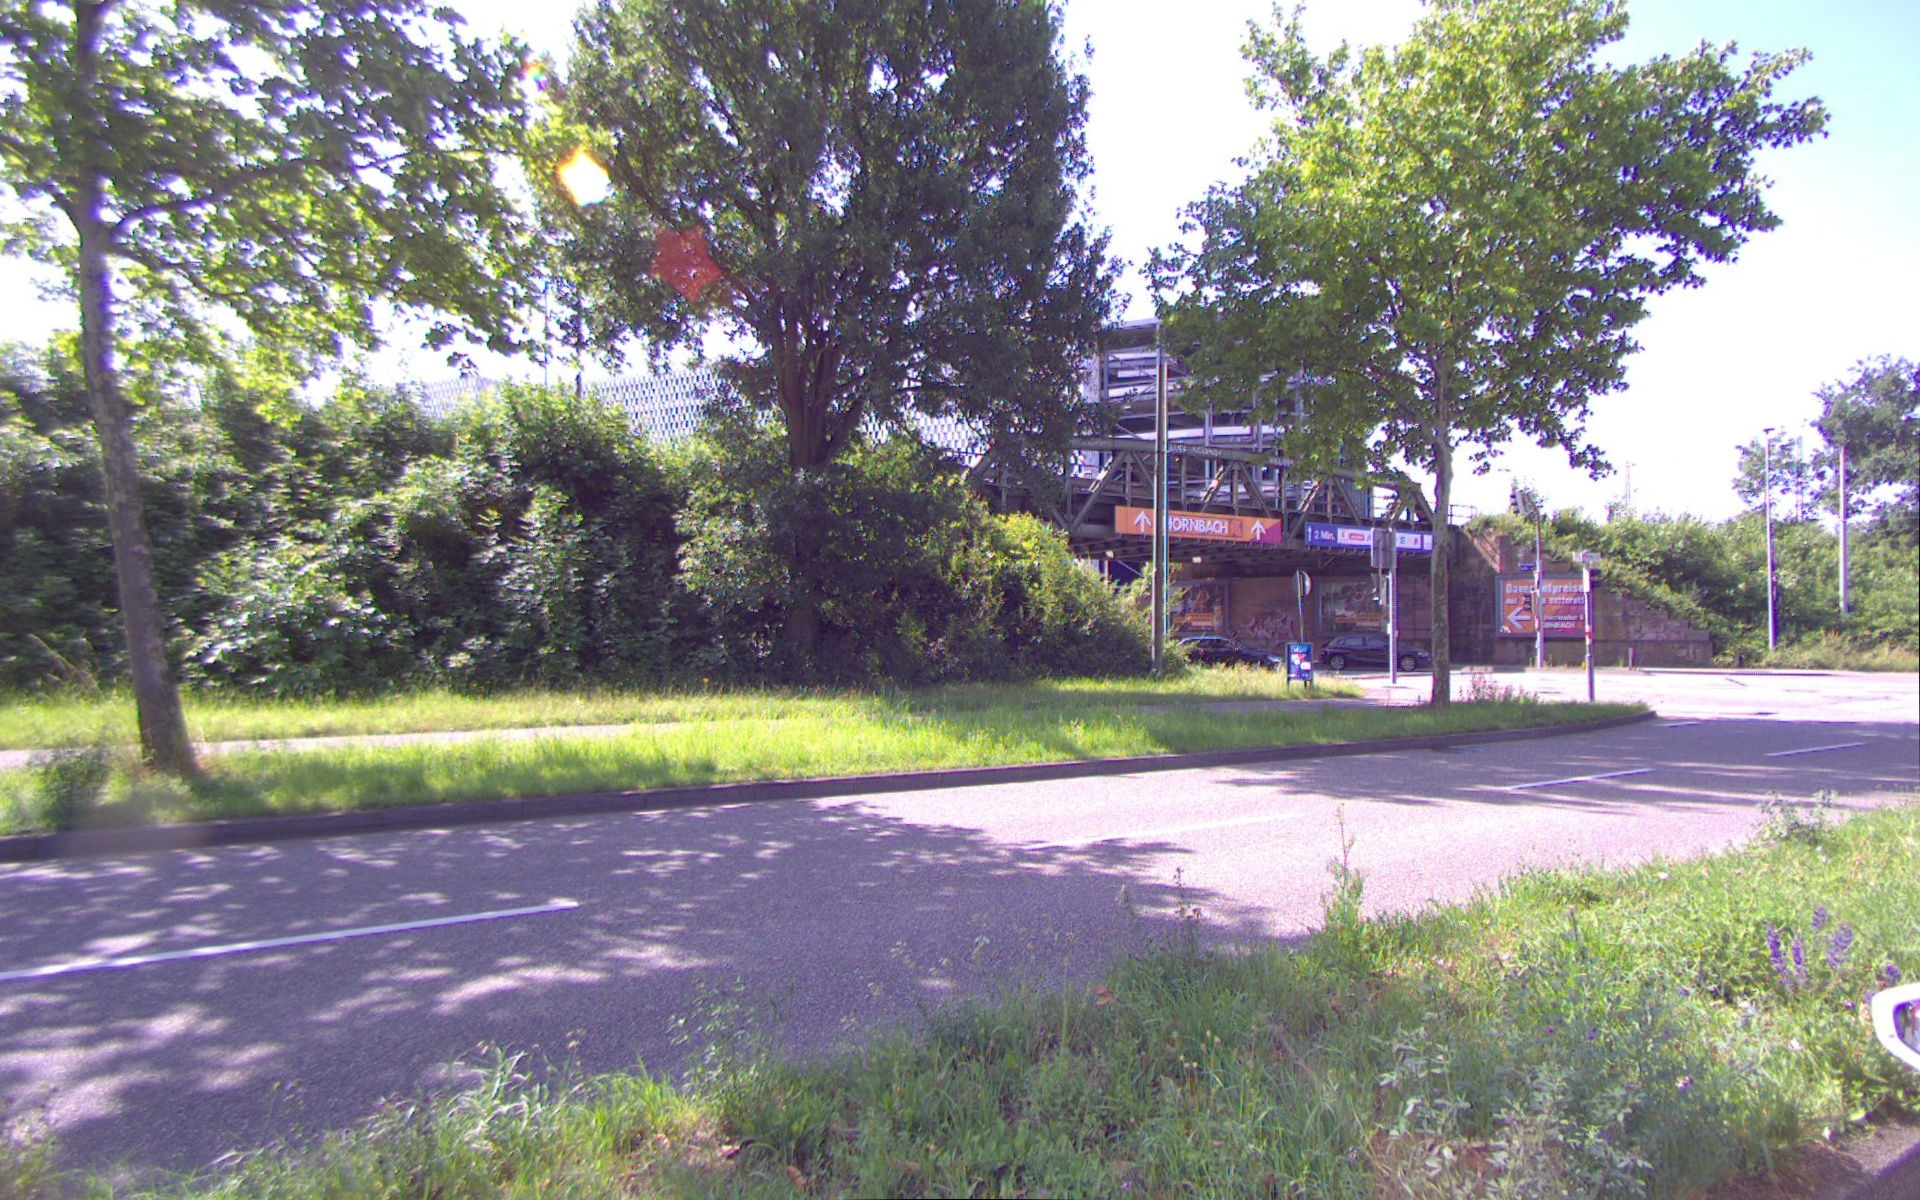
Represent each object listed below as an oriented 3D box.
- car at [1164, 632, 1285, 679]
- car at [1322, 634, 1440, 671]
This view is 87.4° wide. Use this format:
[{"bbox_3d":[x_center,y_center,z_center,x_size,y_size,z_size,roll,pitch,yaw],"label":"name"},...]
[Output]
[{"bbox_3d":[9.332,1.911,35.452,3.869,1.500,1.822,1,-1,25],"label":"car"},{"bbox_3d":[16.884,2.090,40.352,4.253,1.413,1.770,-1,-2,24],"label":"car"}]
